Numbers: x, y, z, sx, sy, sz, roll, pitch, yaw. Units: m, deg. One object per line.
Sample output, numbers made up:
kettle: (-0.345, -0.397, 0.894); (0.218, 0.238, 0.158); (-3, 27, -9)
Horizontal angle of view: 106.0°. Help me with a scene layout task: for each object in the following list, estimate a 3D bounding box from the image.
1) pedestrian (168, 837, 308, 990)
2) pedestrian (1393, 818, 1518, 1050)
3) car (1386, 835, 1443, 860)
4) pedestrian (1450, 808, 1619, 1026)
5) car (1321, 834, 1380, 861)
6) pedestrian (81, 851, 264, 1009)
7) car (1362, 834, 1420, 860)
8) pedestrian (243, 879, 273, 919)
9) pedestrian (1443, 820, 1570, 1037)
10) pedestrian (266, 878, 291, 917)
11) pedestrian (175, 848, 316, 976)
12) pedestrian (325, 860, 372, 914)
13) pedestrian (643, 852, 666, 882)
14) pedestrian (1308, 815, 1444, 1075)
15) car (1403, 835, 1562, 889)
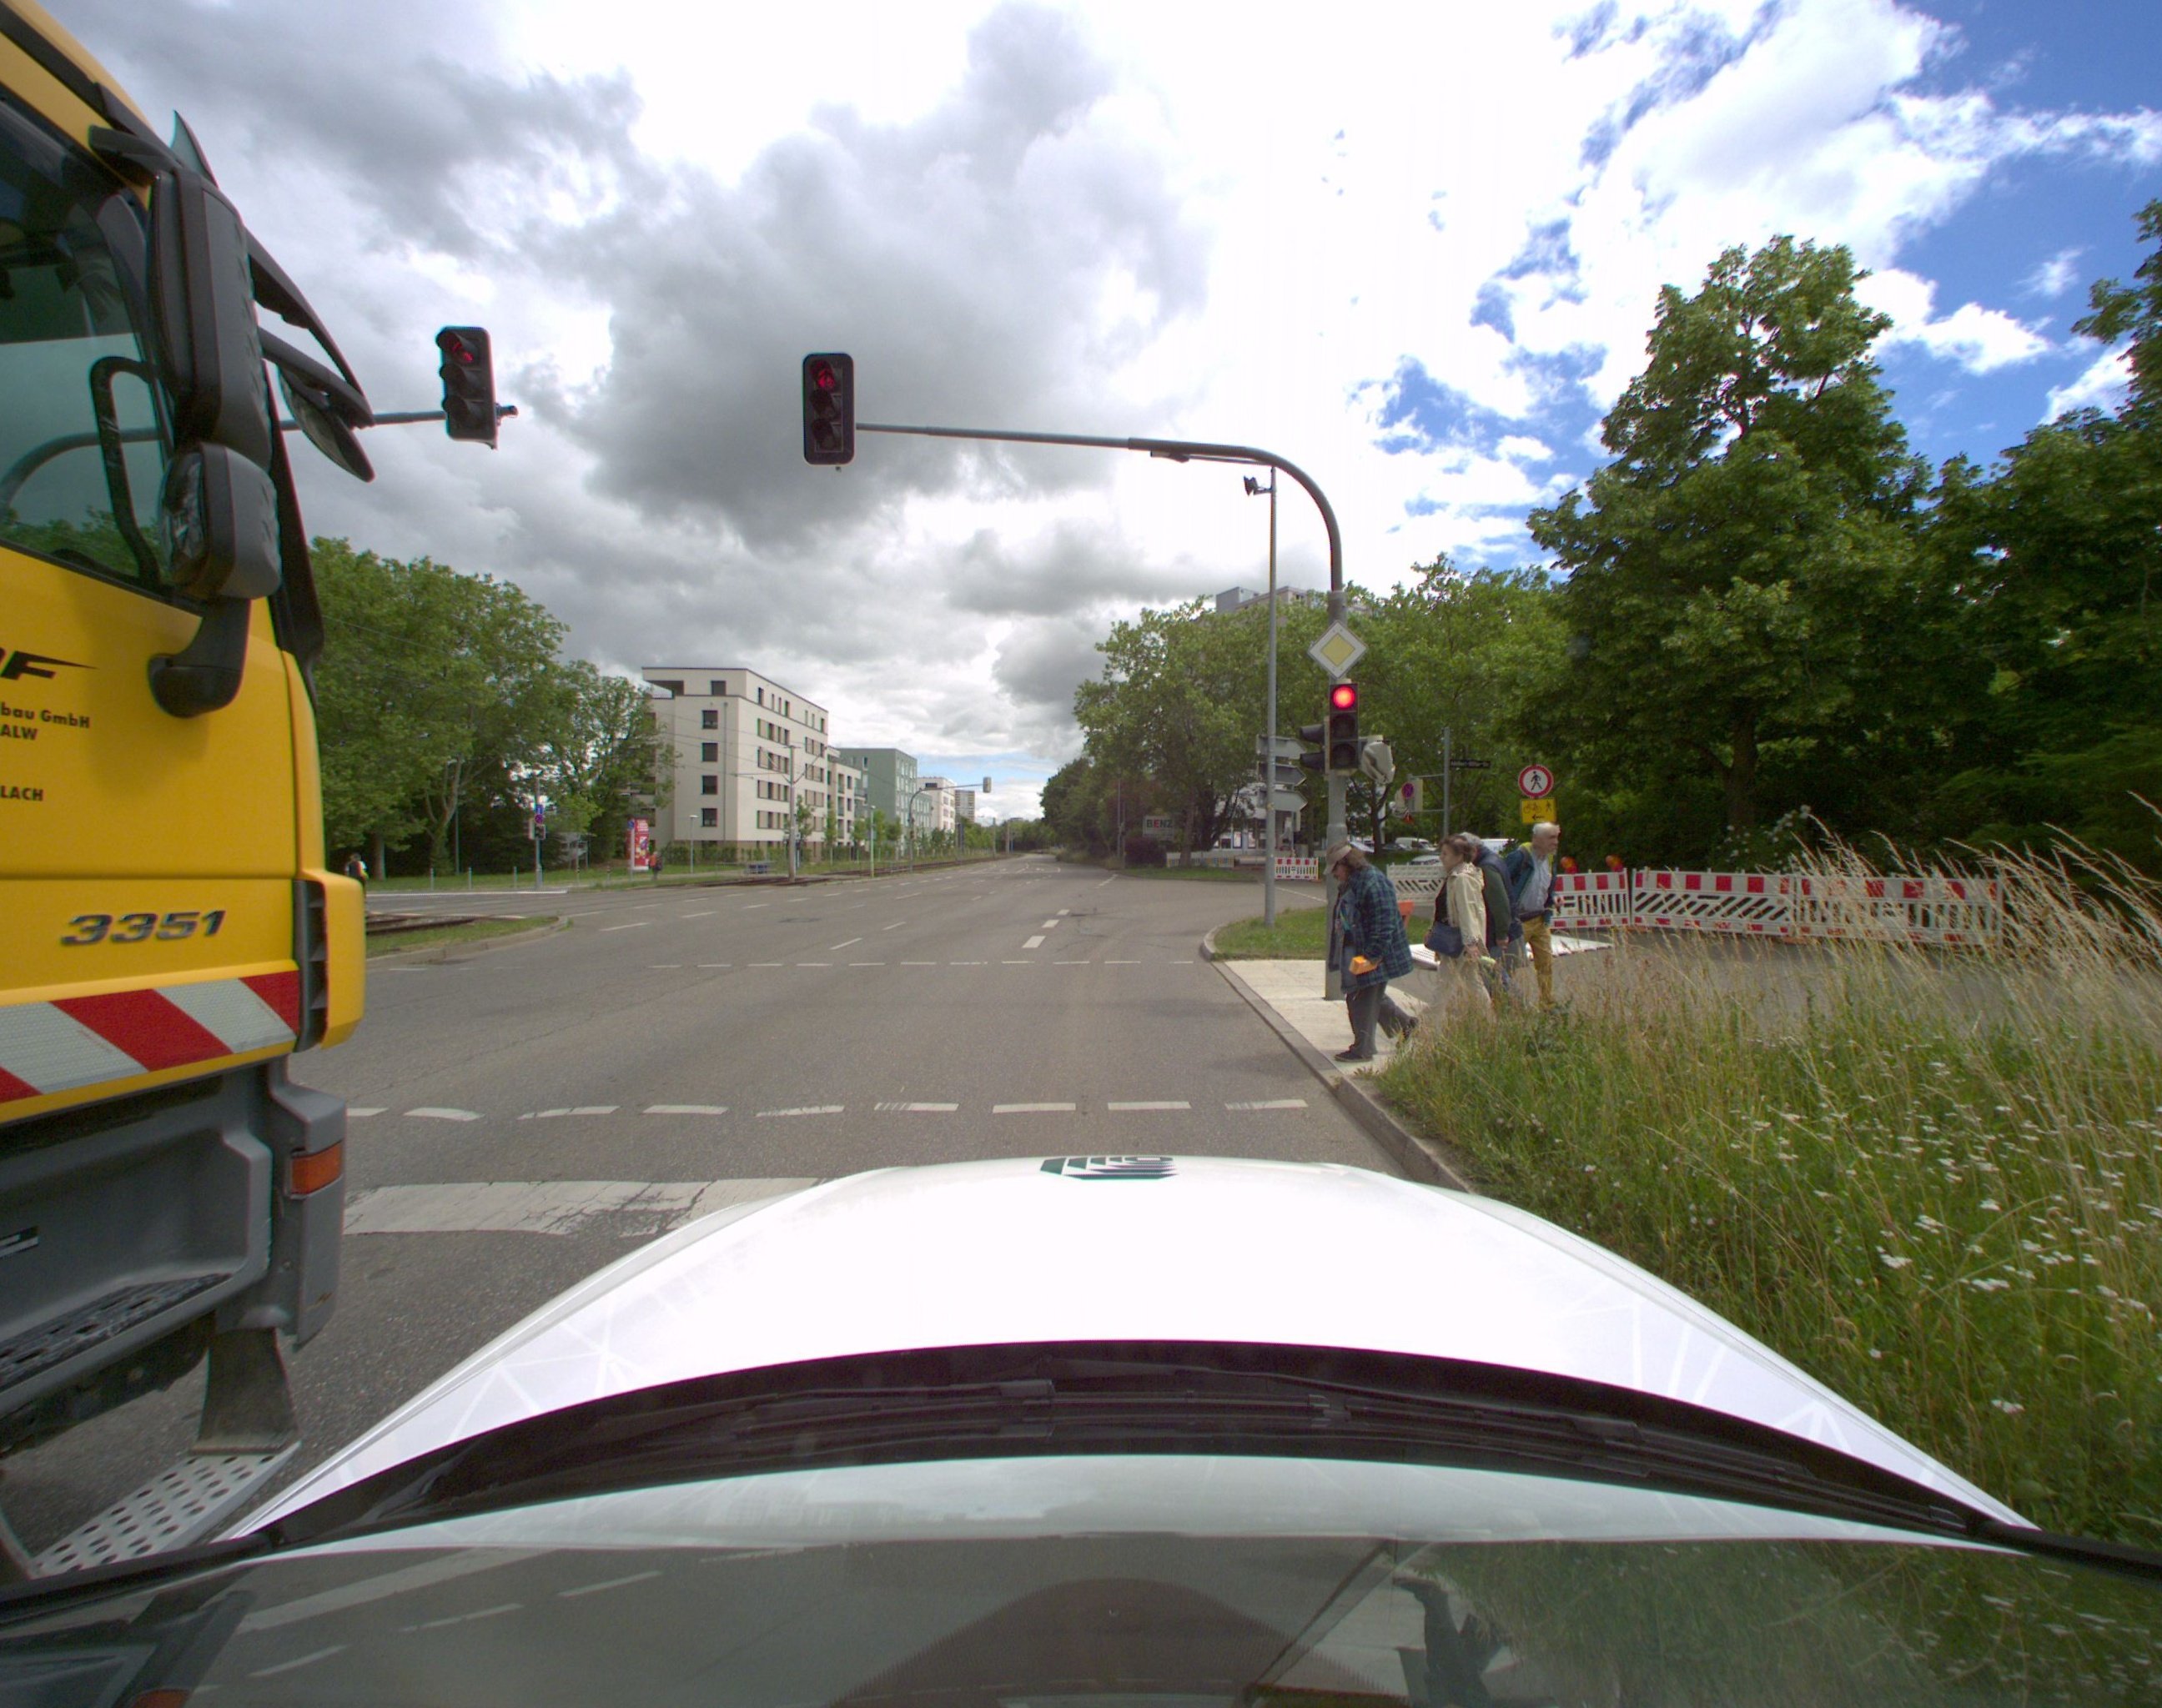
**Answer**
pedestrian: (-10.039, 0.681, 9.727); (0.779, 1.742, 0.829); (-1, 0, 2)
pedestrian: (2.860, 0.562, 6.251); (0.815, 1.640, 0.737); (0, 0, 24)
car: (27.313, -0.527, 66.848); (2.006, 2.013, 3.962); (-1, 0, -29)
pedestrian: (4.061, 0.509, 7.321); (0.952, 1.774, 1.002); (-1, 0, -34)
car: (20.568, -0.512, 62.233); (2.006, 2.013, 3.962); (-1, 0, -29)
pedestrian: (-9.791, 0.777, 8.826); (0.909, 1.607, 0.930); (-1, 0, 2)
car: (24.598, -0.522, 64.714); (2.006, 2.013, 3.962); (-1, 0, -29)
pedestrian: (-24.265, 1.320, 24.015); (0.506, 1.124, 0.418); (0, -1, -29)
pedestrian: (3.460, 0.558, 6.665); (0.860, 1.634, 0.770); (0, 0, 26)
pedestrian: (-23.679, 1.288, 24.030); (0.443, 1.128, 0.370); (0, -1, -29)
pedestrian: (-10.958, 0.728, 10.722); (0.889, 1.596, 0.908); (-1, 0, 2)
pedestrian: (-23.115, 1.029, 25.724); (1.075, 1.648, 0.700); (-1, 0, -41)
pedestrian: (-21.828, 0.648, 41.681); (0.827, 1.516, 0.636); (-1, 0, 1)
pedestrian: (2.024, 0.587, 5.689); (0.816, 1.671, 0.736); (-1, 0, 14)
car: (14.921, 0.282, 30.437); (5.063, 1.874, 1.947); (-1, 0, -2)
